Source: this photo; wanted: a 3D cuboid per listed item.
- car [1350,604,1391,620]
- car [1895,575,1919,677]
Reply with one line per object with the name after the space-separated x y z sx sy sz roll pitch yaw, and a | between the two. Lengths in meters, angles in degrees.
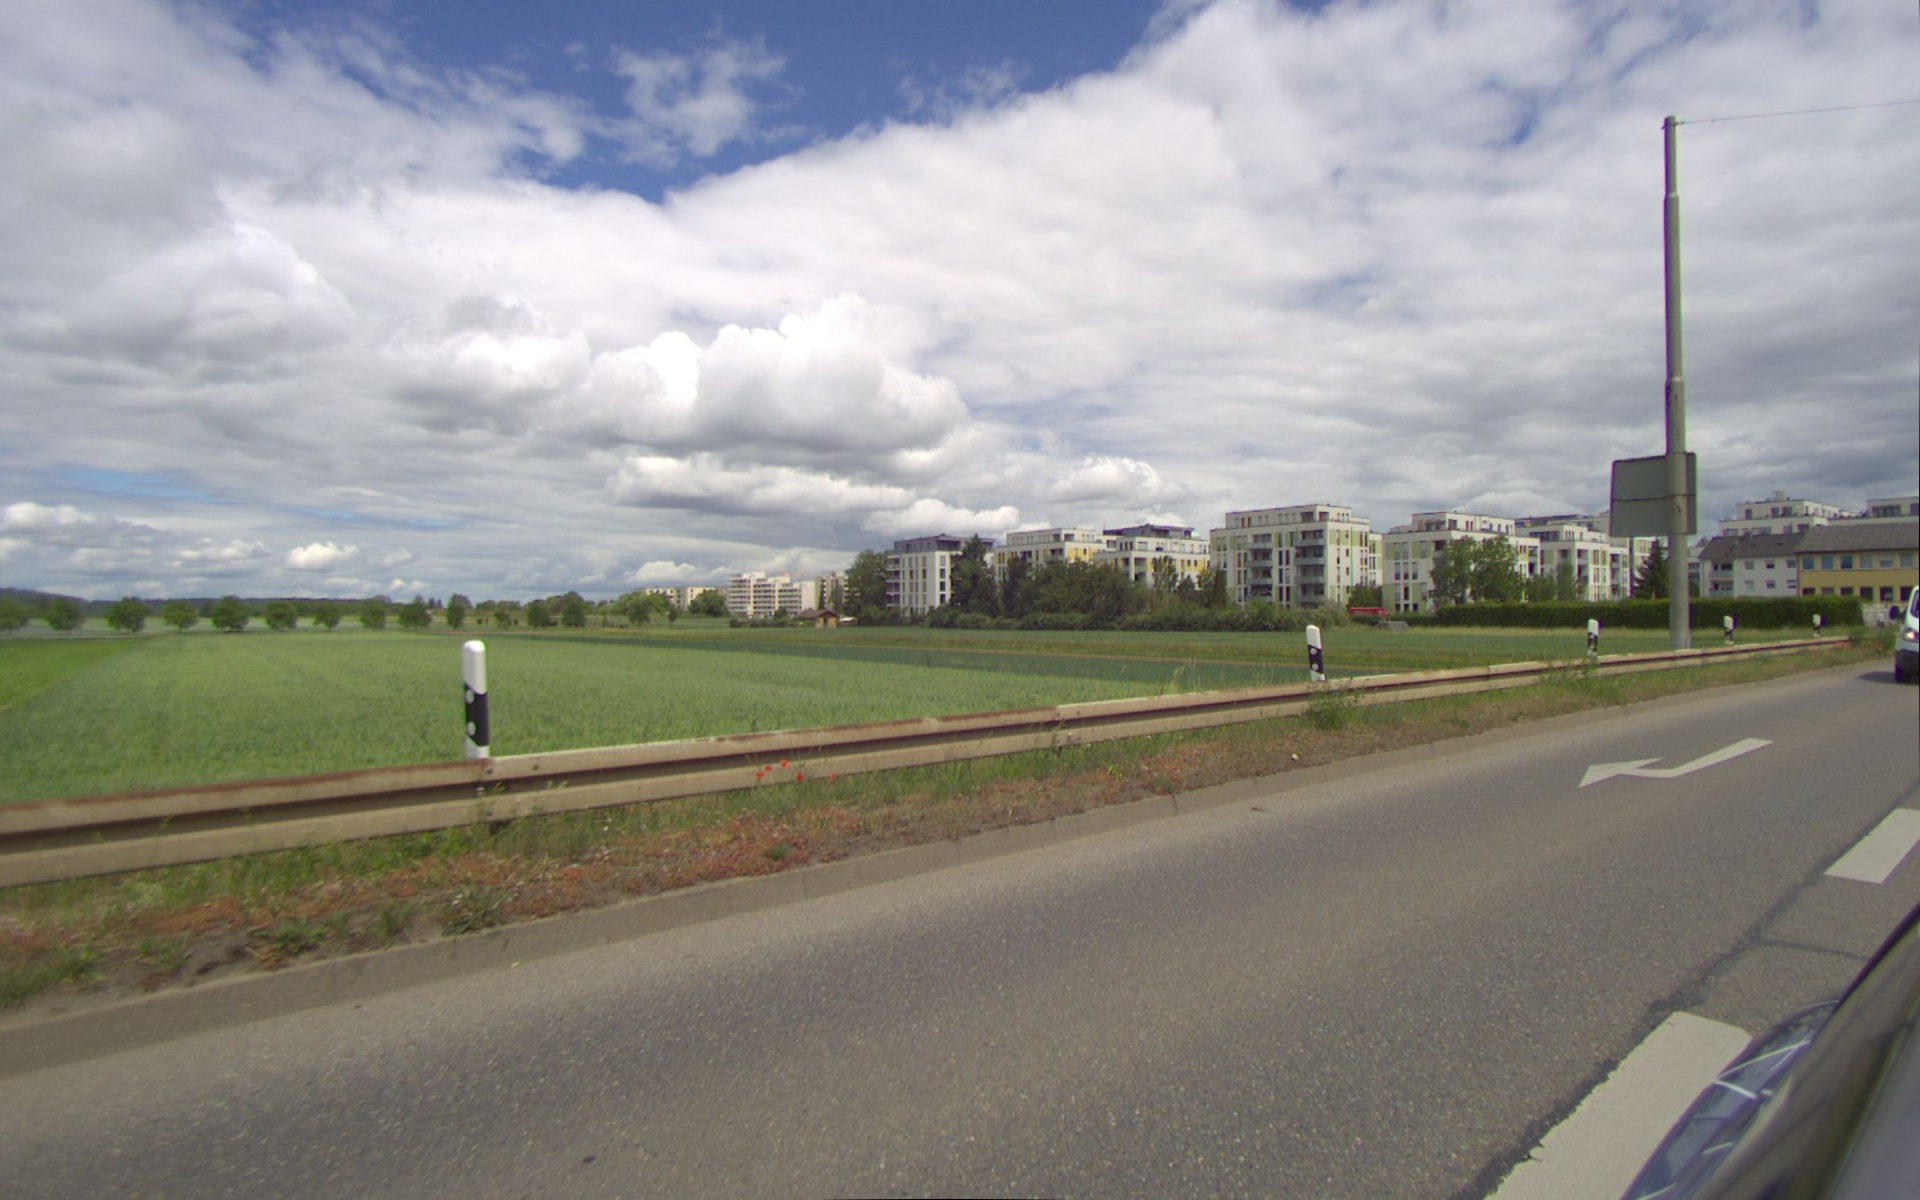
52.438 1.542 129.434 1.965 2.039 4.433 0 0 -40 | car
20.818 0.494 20.454 5.775 1.942 1.998 0 0 -39 | car
